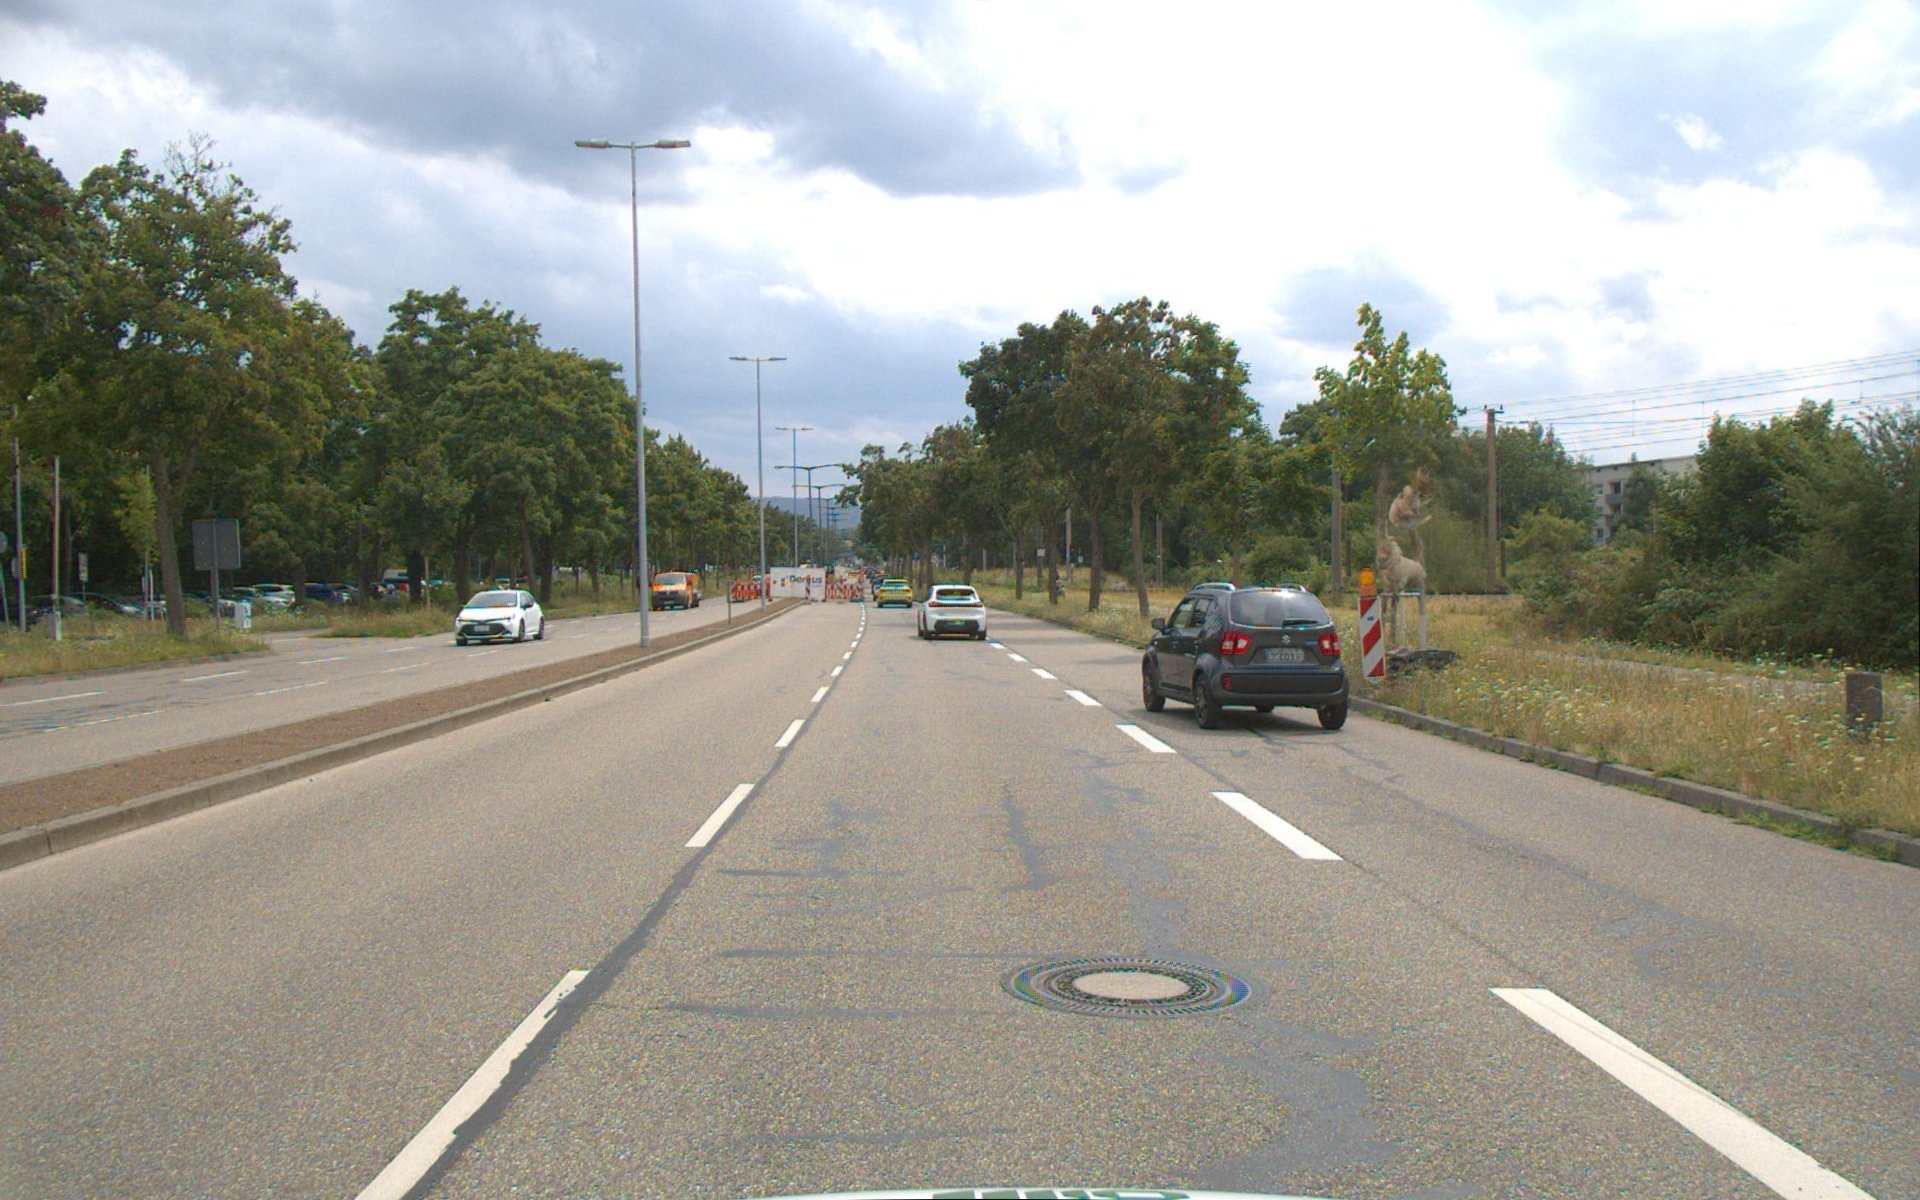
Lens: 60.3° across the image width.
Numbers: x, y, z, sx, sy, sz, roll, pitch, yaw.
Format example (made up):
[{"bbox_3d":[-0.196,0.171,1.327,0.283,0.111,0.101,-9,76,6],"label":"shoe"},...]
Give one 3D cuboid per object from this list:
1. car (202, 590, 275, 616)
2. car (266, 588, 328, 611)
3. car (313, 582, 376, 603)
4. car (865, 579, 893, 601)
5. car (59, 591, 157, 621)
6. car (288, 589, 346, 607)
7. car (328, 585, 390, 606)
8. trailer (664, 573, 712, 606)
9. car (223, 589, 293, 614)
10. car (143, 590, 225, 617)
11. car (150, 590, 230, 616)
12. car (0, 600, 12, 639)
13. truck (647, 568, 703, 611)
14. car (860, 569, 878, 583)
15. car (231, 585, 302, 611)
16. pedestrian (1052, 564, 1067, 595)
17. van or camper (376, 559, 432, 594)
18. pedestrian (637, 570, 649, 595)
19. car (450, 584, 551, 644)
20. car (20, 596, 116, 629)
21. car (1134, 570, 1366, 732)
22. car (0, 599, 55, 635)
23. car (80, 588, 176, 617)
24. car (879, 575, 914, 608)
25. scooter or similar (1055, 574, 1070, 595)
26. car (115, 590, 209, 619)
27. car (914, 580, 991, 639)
[{"bbox_3d":[-42.723,0.183,97.973,3.575,1.436,1.517,-1,1,-1],"label":"car"},{"bbox_3d":[-43.262,-0.033,107.883,3.477,1.436,1.322,-1,1,-1],"label":"car"},{"bbox_3d":[-42.761,-0.534,115.008,3.655,1.433,1.999,-1,1,-2],"label":"car"},{"bbox_3d":[-5.084,-0.637,103.874,1.633,1.292,3.999,-1,2,-2],"label":"car"},{"bbox_3d":[-41.942,0.282,81.484,3.905,1.384,1.667,-1,1,-1],"label":"car"},{"bbox_3d":[-42.707,-0.150,109.891,3.298,1.113,1.441,-1,1,-2],"label":"car"},{"bbox_3d":[-43.477,-0.338,119.710,3.696,1.450,1.966,-1,1,-1],"label":"car"},{"bbox_3d":[-15.107,-0.581,92.011,2.020,1.719,3.894,-2,1,-1],"label":"trailer"},{"bbox_3d":[-42.602,0.093,100.440,3.575,1.436,1.517,-1,1,-1],"label":"car"},{"bbox_3d":[-41.816,0.161,89.176,3.571,1.384,1.708,-1,1,-1],"label":"car"},{"bbox_3d":[-42.504,0.158,91.332,3.571,1.384,1.708,-1,1,-1],"label":"car"},{"bbox_3d":[-40.155,0.818,65.484,4.095,1.524,1.885,-1,1,-1],"label":"car"},{"bbox_3d":[-15.000,-0.590,87.385,2.047,2.029,6.037,-2,2,-2],"label":"truck"},{"bbox_3d":[-11.731,-3.091,212.801,2.161,1.713,4.000,-1,2,-1],"label":"car"},{"bbox_3d":[-43.140,-0.140,102.972,3.575,1.546,1.882,-1,1,-1],"label":"car"},{"bbox_3d":[5.591,-1.175,92.982,0.677,1.724,0.932,-1,1,-8],"label":"pedestrian"},{"bbox_3d":[-45.449,-1.933,135.241,3.907,2.804,1.926,-1,1,-3],"label":"van or camper"},{"bbox_3d":[-23.478,-1.284,122.431,0.682,1.870,0.646,-1,1,-25],"label":"pedestrian"},{"bbox_3d":[-12.657,0.341,45.798,1.682,1.444,4.159,-2,2,-1],"label":"car"},{"bbox_3d":[-41.587,0.568,77.151,3.575,1.436,1.517,-1,1,-1],"label":"car"},{"bbox_3d":[3.311,0.513,19.637,1.671,1.697,3.995,0,1,-6],"label":"car"},{"bbox_3d":[-40.250,0.703,69.462,3.575,1.436,1.517,-1,1,-1],"label":"car"},{"bbox_3d":[-42.203,0.112,83.948,3.905,1.384,1.822,-1,1,-1],"label":"car"},{"bbox_3d":[-3.257,-0.464,85.465,1.757,1.589,3.999,-1,2,-2],"label":"car"},{"bbox_3d":[5.718,-0.870,92.057,0.669,1.149,0.932,-1,1,-8],"label":"scooter or similar"},{"bbox_3d":[-41.840,0.250,86.737,3.904,1.435,2.001,0,1,2],"label":"car"},{"bbox_3d":[-0.251,0.223,45.486,1.733,1.489,3.995,-1,2,-6],"label":"car"}]
